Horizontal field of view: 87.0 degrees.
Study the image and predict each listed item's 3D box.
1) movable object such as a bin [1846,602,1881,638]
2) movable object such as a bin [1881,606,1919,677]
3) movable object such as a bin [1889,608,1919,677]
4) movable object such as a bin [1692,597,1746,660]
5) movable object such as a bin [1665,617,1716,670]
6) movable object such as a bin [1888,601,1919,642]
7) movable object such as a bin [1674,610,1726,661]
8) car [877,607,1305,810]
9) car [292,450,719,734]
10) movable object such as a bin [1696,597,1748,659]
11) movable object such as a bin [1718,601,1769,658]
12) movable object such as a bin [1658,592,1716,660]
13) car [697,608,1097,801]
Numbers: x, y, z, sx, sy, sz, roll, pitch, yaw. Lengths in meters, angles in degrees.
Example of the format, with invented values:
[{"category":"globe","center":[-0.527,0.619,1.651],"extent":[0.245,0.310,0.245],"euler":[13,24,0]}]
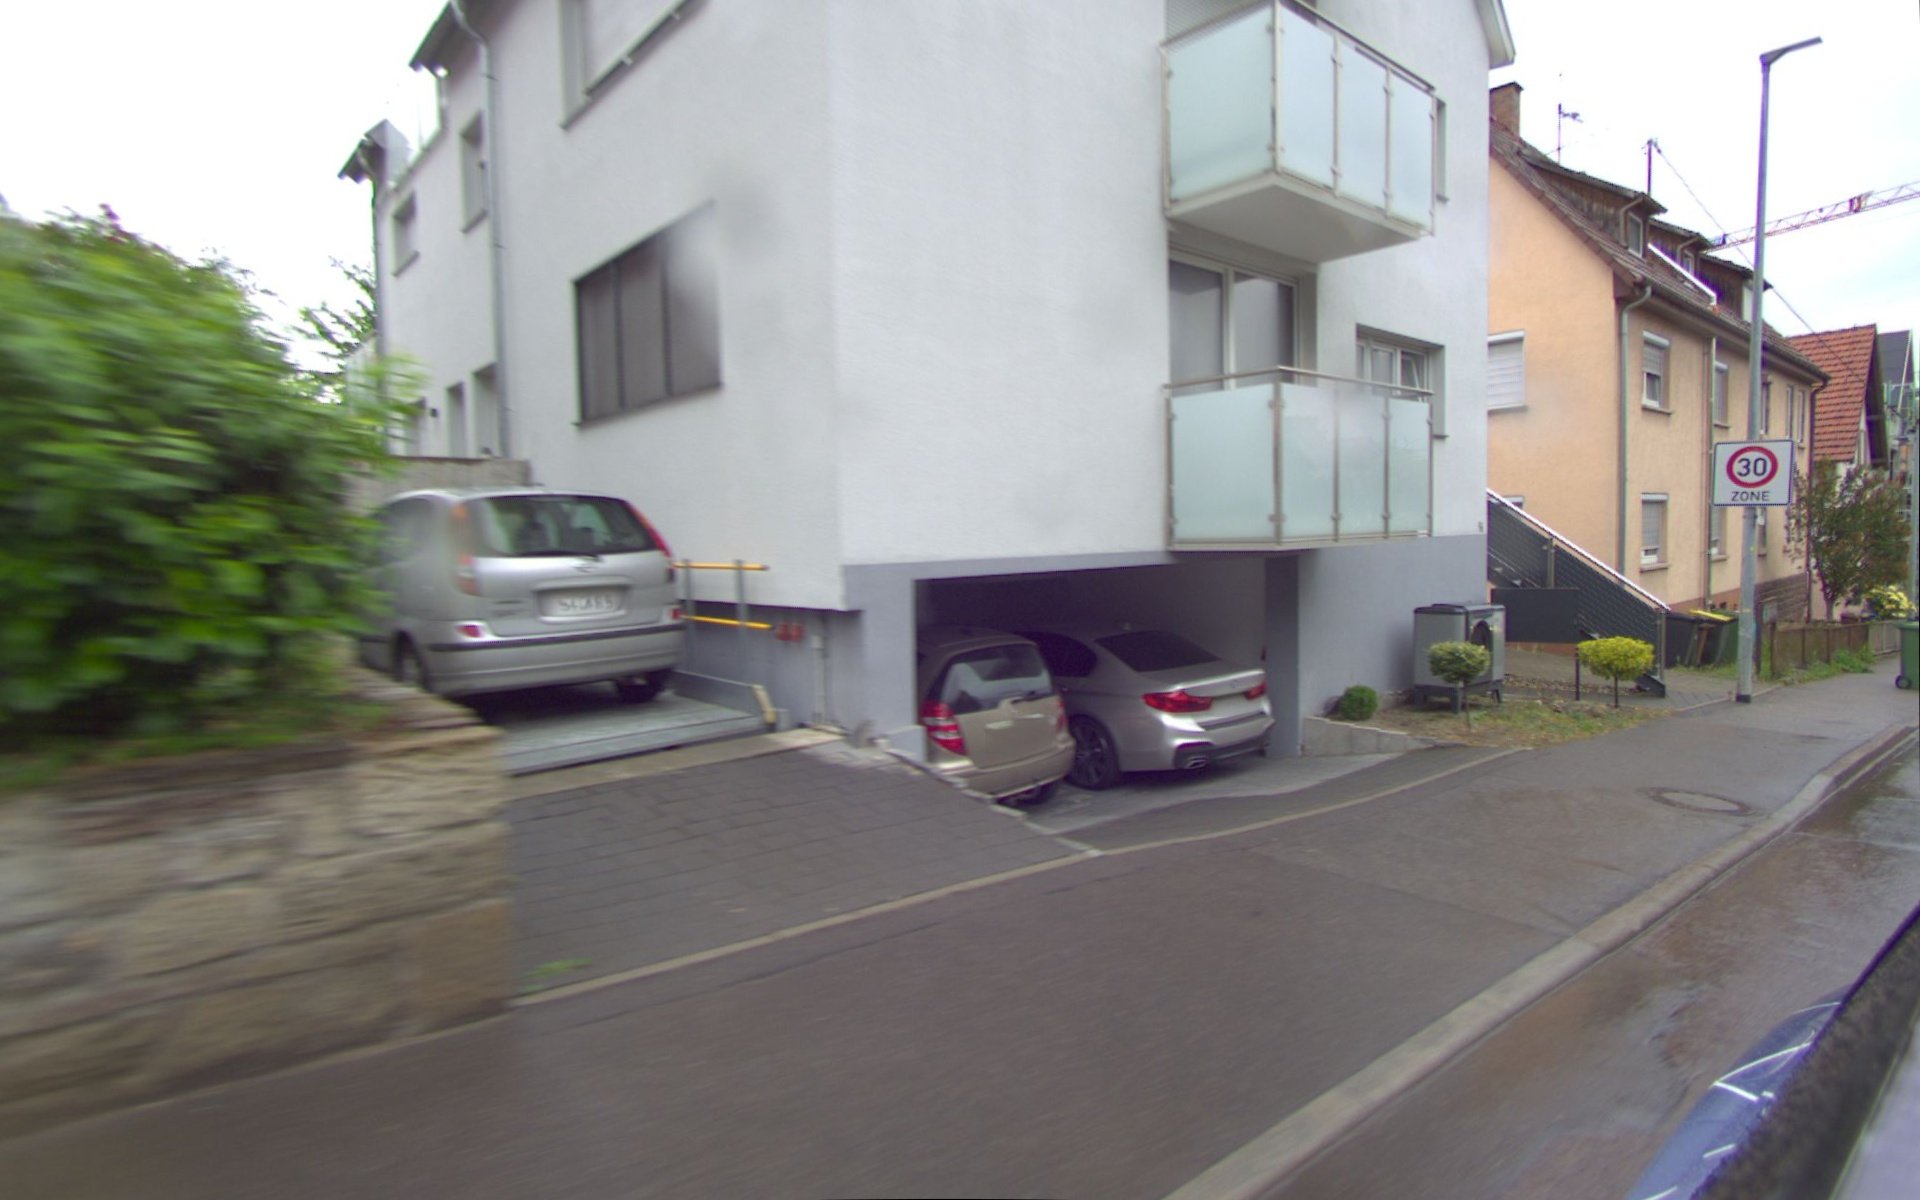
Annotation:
[{"category":"movable object such as a bin","center":[26.791,0.578,30.002],"extent":[0.779,0.978,0.611],"euler":[0,7,-43]},{"category":"movable object such as a bin","center":[15.473,0.668,16.256],"extent":[0.689,1.117,0.916],"euler":[0,0,-39]},{"category":"movable object such as a bin","center":[16.036,0.709,16.728],"extent":[0.689,1.117,0.916],"euler":[0,0,-39]},{"category":"movable object such as a bin","center":[14.292,0.531,19.057],"extent":[0.536,1.106,0.661],"euler":[0,5,-43]},{"category":"movable object such as a bin","center":[13.159,0.780,18.232],"extent":[0.527,0.906,0.638],"euler":[0,0,-41]},{"category":"movable object such as a bin","center":[27.223,0.610,29.154],"extent":[0.779,1.090,0.610],"euler":[0,4,-43]},{"category":"movable object such as a bin","center":[13.619,0.645,18.621],"extent":[0.527,0.906,0.670],"euler":[0,0,-41]},{"category":"car","center":[1.147,0.923,10.690],"extent":[1.725,1.461,4.478],"euler":[-4,4,-40]},{"category":"car","center":[-3.678,-0.075,7.802],"extent":[1.782,1.606,3.990],"euler":[0,1,-44]},{"category":"movable object such as a bin","center":[14.715,0.528,19.552],"extent":[0.536,1.106,0.646],"euler":[0,5,-43]},{"category":"movable object such as a bin","center":[16.135,0.599,20.847],"extent":[0.645,1.106,0.661],"euler":[0,4,-43]},{"category":"movable object such as a bin","center":[12.716,0.438,17.705],"extent":[0.536,1.106,0.661],"euler":[0,5,-43]},{"category":"car","center":[-0.776,0.780,9.467],"extent":[1.653,1.321,3.979],"euler":[0,1,-42]}]
